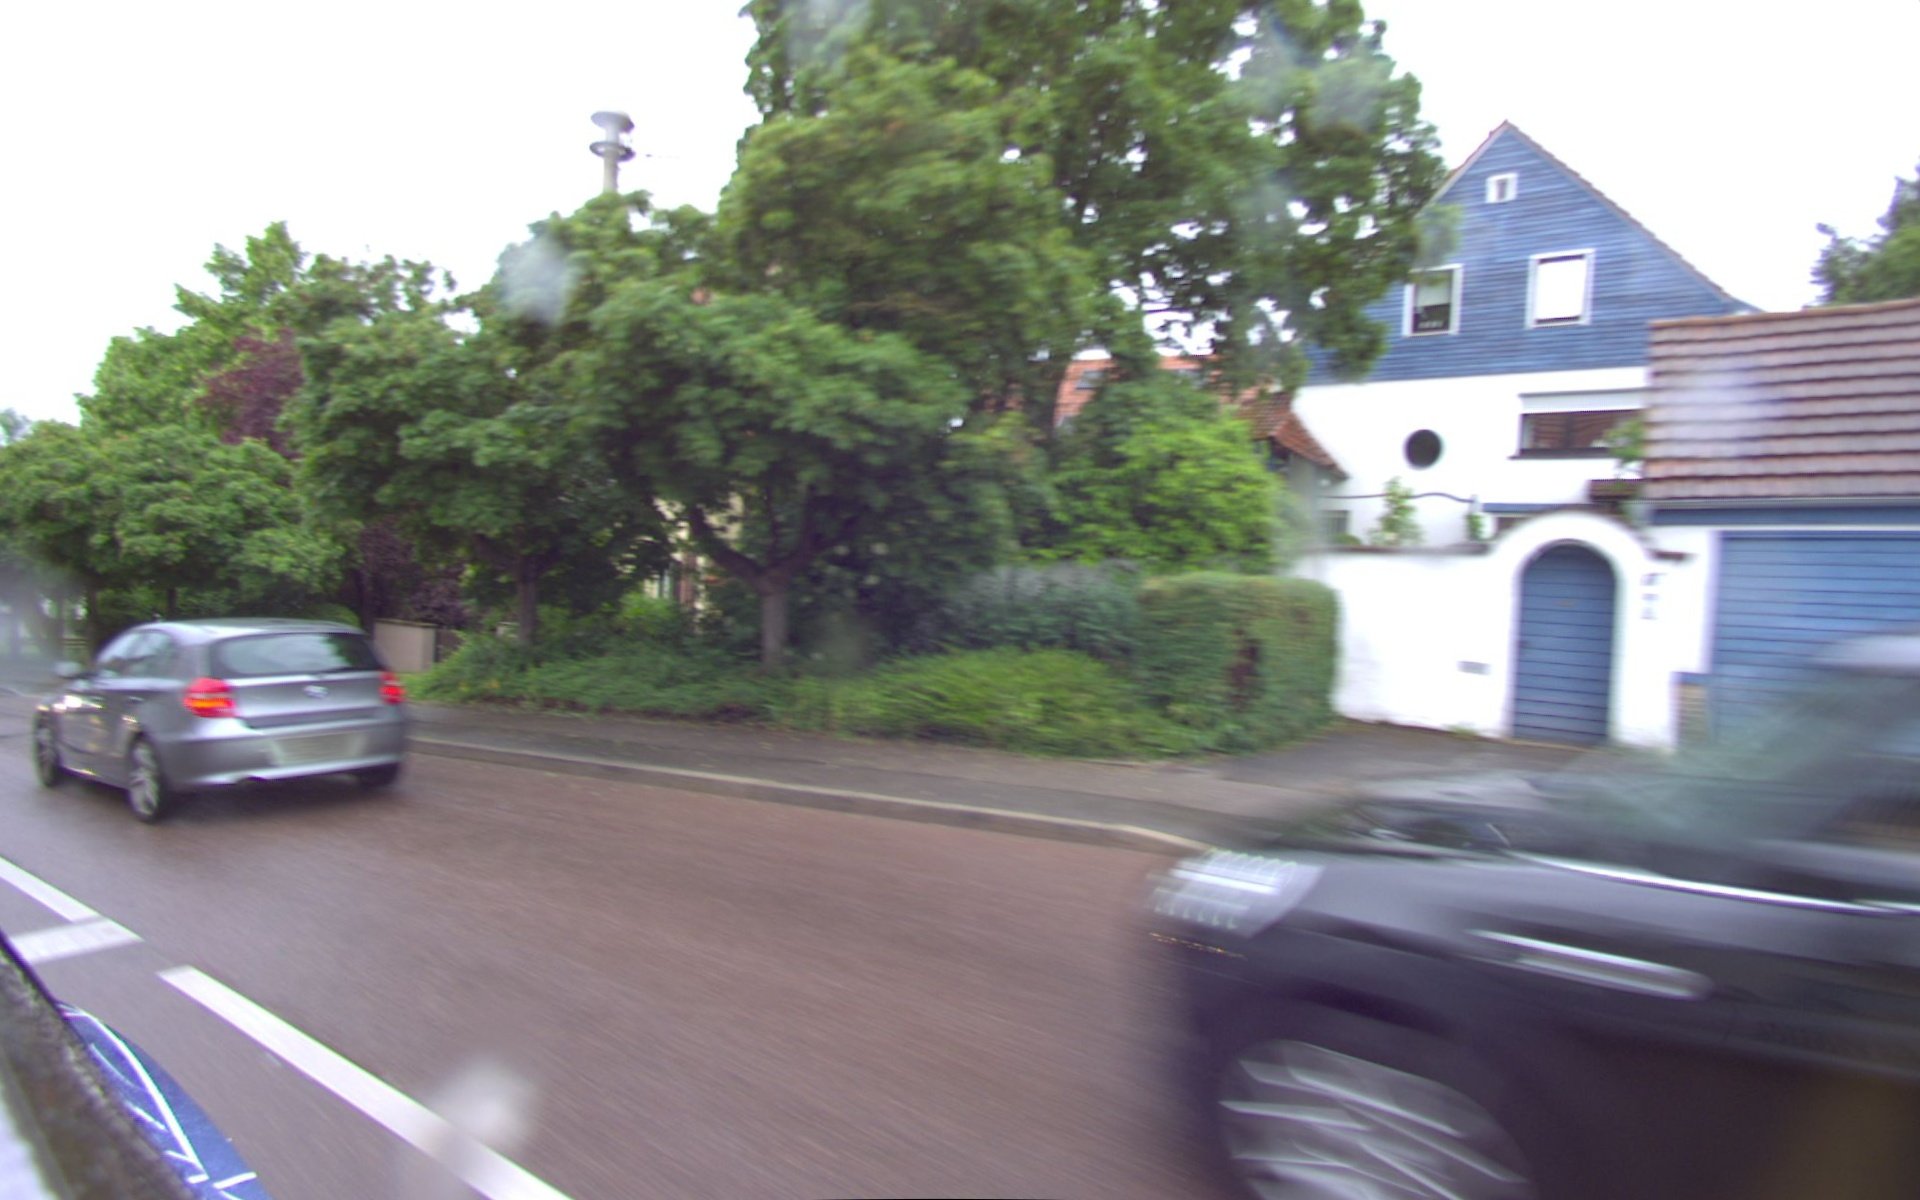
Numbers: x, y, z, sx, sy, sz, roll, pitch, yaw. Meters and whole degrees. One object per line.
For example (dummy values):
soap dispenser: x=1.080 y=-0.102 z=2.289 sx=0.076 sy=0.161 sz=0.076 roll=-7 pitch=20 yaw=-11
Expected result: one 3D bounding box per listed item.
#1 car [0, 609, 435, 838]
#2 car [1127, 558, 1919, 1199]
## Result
car: x=-6.207 y=0.811 z=8.243 sx=3.889 sy=1.433 sz=1.804 roll=-1 pitch=-1 yaw=34
car: x=2.326 y=0.639 z=1.808 sx=3.674 sy=1.416 sz=1.660 roll=-1 pitch=-1 yaw=40
